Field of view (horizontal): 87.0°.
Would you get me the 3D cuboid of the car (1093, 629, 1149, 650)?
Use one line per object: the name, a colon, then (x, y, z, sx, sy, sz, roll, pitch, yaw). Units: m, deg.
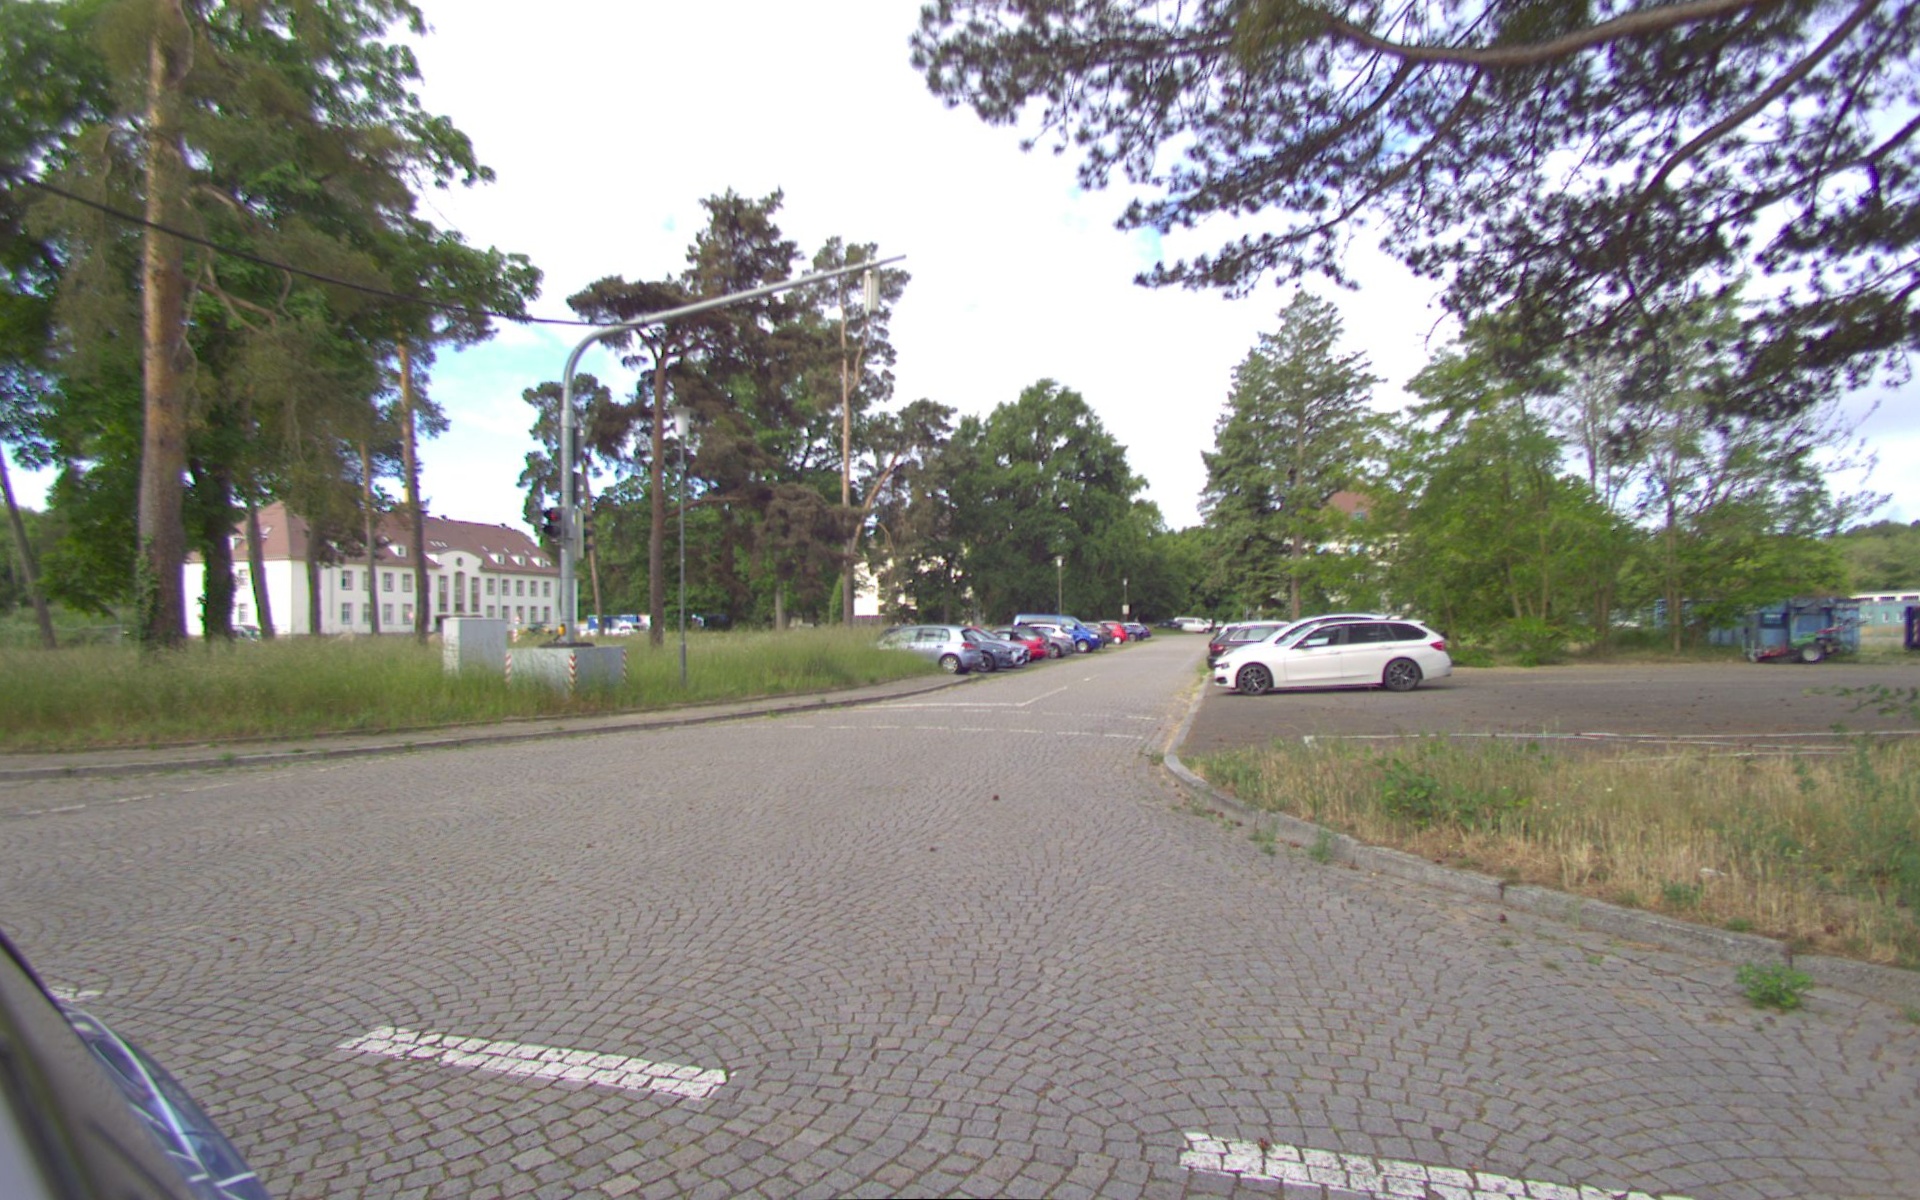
car: (13.667, 3.340, 85.908, 4.539, 1.533, 1.833, -3, -2, 13)

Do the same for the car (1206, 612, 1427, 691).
car: (8.055, 1.177, 23.310, 4.539, 1.590, 1.833, -3, -2, 13)

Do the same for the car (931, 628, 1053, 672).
car: (1.293, 1.991, 40.220, 4.539, 1.533, 1.833, -3, -2, 13)

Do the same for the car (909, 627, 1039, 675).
car: (0.552, 1.916, 38.018, 4.539, 1.571, 1.833, -3, -2, 13)

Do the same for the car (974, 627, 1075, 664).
car: (3.120, 2.163, 48.377, 4.539, 1.586, 1.833, -3, -2, 13)

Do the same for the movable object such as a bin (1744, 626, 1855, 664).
movable object such as a bin: (21.662, 1.165, 26.162, 1.913, 0.940, 1.038, -1, -2, 9)

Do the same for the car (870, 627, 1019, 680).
car: (-0.489, 1.740, 33.078, 4.539, 1.533, 1.833, -3, -2, 13)

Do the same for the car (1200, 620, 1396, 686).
car: (8.527, 1.344, 25.915, 4.543, 1.480, 1.831, -3, -2, 16)

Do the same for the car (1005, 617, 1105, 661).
car: (5.025, 2.048, 53.378, 4.934, 2.113, 1.832, -3, -2, 15)

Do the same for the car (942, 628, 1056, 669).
car: (1.661, 2.048, 42.828, 4.539, 1.533, 1.833, -3, -2, 13)

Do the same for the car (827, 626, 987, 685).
car: (-1.565, 1.672, 30.564, 4.531, 1.559, 1.836, -3, -2, 8)

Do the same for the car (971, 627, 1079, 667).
car: (2.933, 2.083, 45.310, 4.539, 1.571, 1.833, -3, -2, 13)

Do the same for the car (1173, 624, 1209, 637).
car: (30.006, 3.988, 131.718, 4.539, 1.645, 1.833, -1, -2, 13)

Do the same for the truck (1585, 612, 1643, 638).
truck: (58.021, 2.250, 89.925, 2.352, 2.215, 6.523, -1, -1, 15)

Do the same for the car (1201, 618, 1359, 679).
car: (8.968, 1.375, 28.634, 4.076, 1.533, 1.729, -3, -2, 16)

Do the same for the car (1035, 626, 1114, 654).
car: (7.034, 2.457, 62.041, 4.539, 1.533, 1.833, -3, -2, 13)

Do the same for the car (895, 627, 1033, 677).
car: (0.173, 1.833, 35.649, 4.539, 1.533, 1.833, -3, -2, 13)

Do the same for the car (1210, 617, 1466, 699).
car: (7.567, 1.178, 20.746, 4.609, 1.461, 1.833, -3, -2, 13)

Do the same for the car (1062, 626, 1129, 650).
car: (9.614, 2.678, 71.939, 4.539, 1.533, 1.833, -3, -2, 13)

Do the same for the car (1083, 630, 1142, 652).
car: (12.302, 3.292, 81.685, 4.539, 1.533, 1.833, -3, -2, 13)
